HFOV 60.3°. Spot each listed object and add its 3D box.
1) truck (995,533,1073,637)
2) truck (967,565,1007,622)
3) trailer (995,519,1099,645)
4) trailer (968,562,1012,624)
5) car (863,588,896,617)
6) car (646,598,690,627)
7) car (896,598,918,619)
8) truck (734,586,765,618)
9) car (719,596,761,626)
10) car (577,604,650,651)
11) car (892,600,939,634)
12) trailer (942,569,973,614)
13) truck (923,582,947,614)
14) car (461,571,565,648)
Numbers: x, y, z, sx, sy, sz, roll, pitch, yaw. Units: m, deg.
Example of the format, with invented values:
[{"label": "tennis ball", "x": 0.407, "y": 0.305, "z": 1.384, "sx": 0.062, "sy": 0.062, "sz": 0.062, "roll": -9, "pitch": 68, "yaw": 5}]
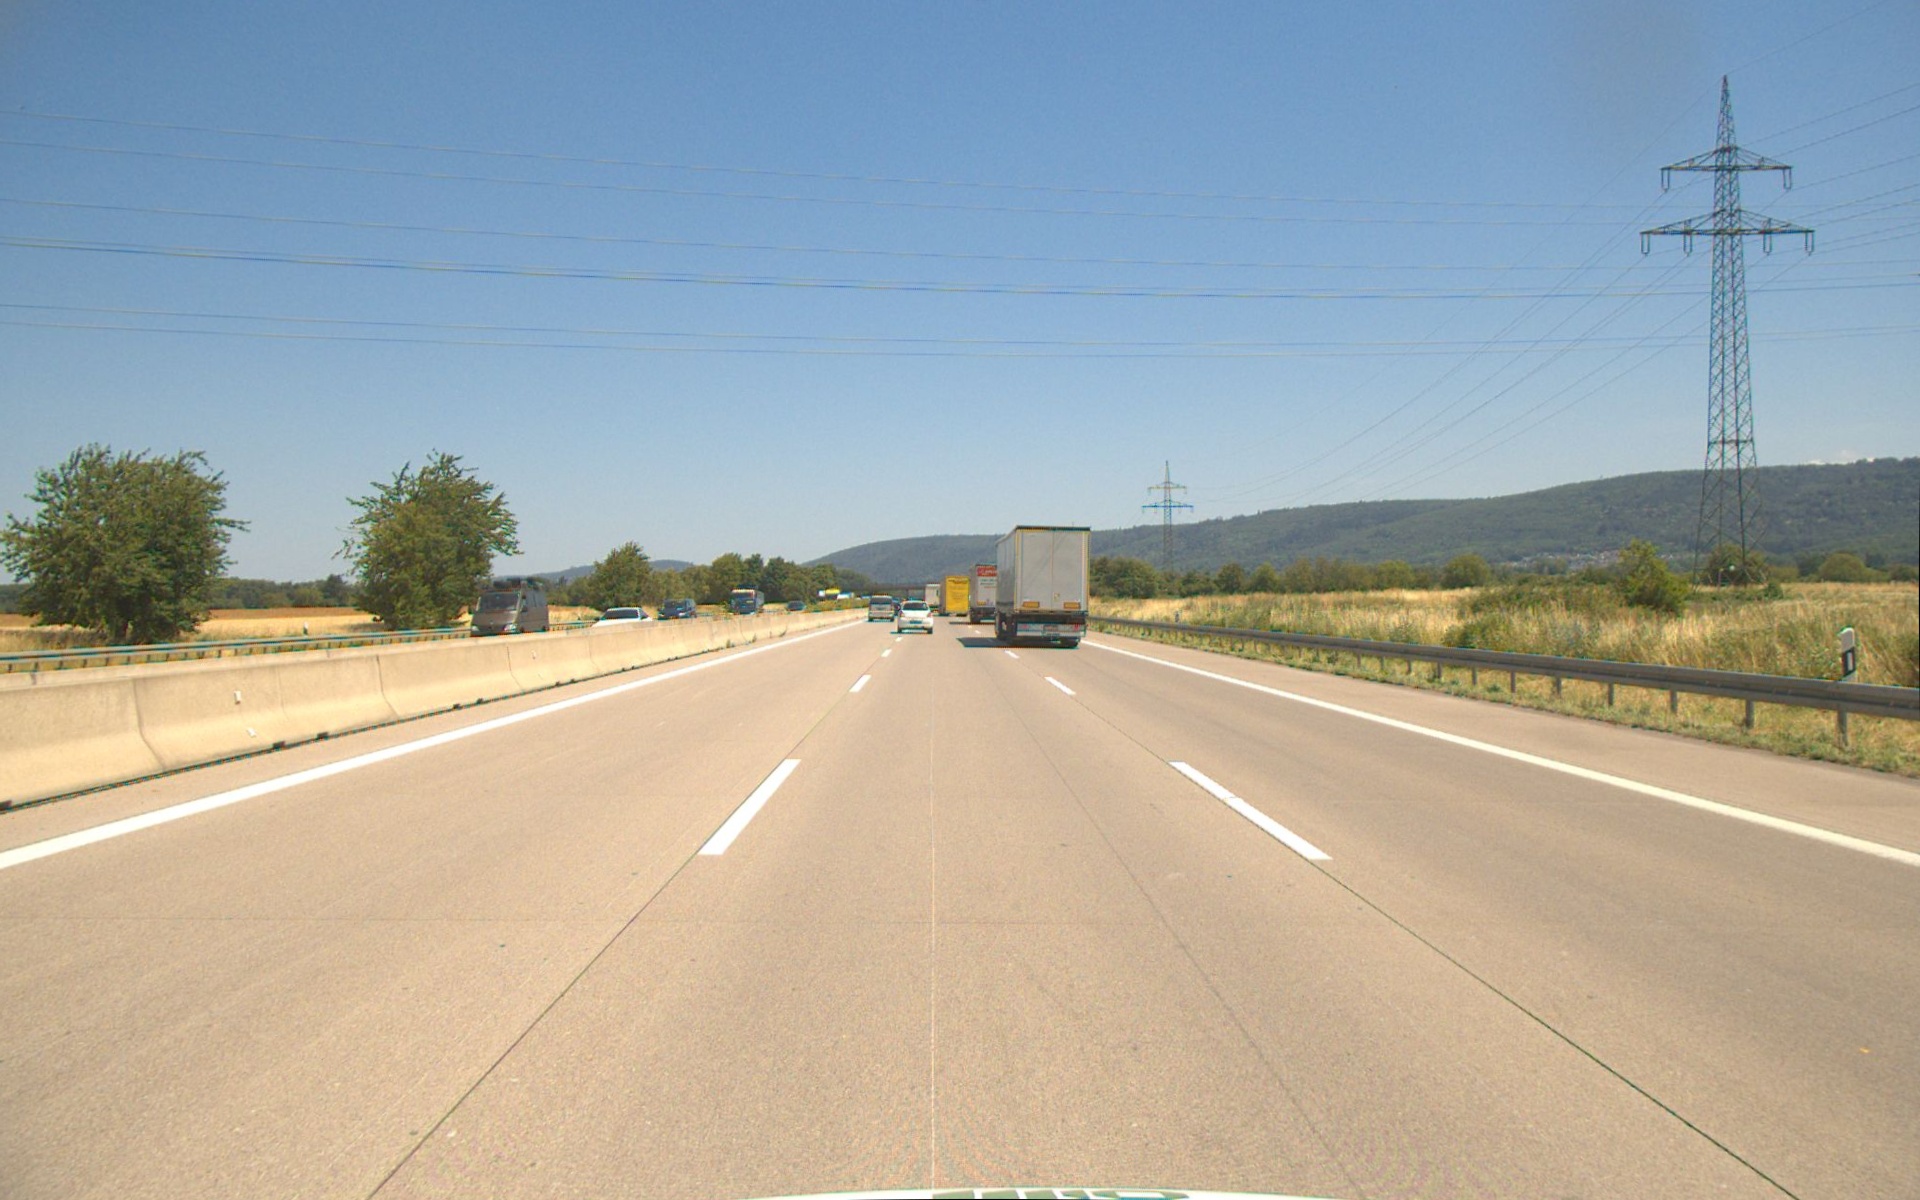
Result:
[{"label": "truck", "x": 3.022, "y": -0.598, "z": 69.168, "sx": 2.923, "sy": 4.133, "sz": 5.477, "roll": 1, "pitch": 0, "yaw": 0}, {"label": "truck", "x": 1.999, "y": -0.469, "z": 124.461, "sx": 2.846, "sy": 4.172, "sz": 6.271, "roll": 1, "pitch": 0, "yaw": 0}, {"label": "trailer", "x": 3.033, "y": -0.597, "z": 61.823, "sx": 2.956, "sy": 4.132, "sz": 14.205, "roll": 1, "pitch": 0, "yaw": -1}, {"label": "trailer", "x": 2.042, "y": -0.472, "z": 118.454, "sx": 2.815, "sy": 4.172, "sz": 13.511, "roll": 1, "pitch": 0, "yaw": 0}, {"label": "car", "x": -6.007, "y": 0.190, "z": 124.162, "sx": 2.208, "sy": 2.049, "sz": 4.297, "roll": 1, "pitch": 0, "yaw": 0}, {"label": "car", "x": -19.015, "y": 0.782, "z": 107.982, "sx": 2.126, "sy": 1.821, "sz": 4.000, "roll": 1, "pitch": 0, "yaw": 0}, {"label": "car", "x": -5.027, "y": 0.793, "z": 156.542, "sx": 1.953, "sy": 1.991, "sz": 3.999, "roll": 1, "pitch": 0, "yaw": -1}, {"label": "truck", "x": -22.861, "y": 0.174, "z": 180.036, "sx": 2.749, "sy": 3.362, "sz": 5.612, "roll": 1, "pitch": 0, "yaw": -1}, {"label": "car", "x": -14.333, "y": 0.725, "z": 108.041, "sx": 1.953, "sy": 1.858, "sz": 5.824, "roll": 1, "pitch": 0, "yaw": 0}, {"label": "car", "x": -13.322, "y": 1.017, "z": 63.816, "sx": 1.835, "sy": 1.681, "sz": 5.106, "roll": 1, "pitch": 0, "yaw": -1}, {"label": "car", "x": -2.105, "y": 0.781, "z": 79.068, "sx": 2.064, "sy": 1.563, "sz": 4.122, "roll": 1, "pitch": 0, "yaw": 0}, {"label": "trailer", "x": -0.360, "y": -0.843, "z": 179.551, "sx": 3.150, "sy": 4.643, "sz": 13.454, "roll": 1, "pitch": 0, "yaw": -1}, {"label": "truck", "x": -3.629, "y": -0.261, "z": 236.752, "sx": 3.285, "sy": 4.347, "sz": 8.227, "roll": 1, "pitch": 0, "yaw": -1}, {"label": "car", "x": -17.432, "y": 0.365, "z": 64.866, "sx": 2.202, "sy": 2.835, "sz": 6.791, "roll": 1, "pitch": 0, "yaw": 0}]
